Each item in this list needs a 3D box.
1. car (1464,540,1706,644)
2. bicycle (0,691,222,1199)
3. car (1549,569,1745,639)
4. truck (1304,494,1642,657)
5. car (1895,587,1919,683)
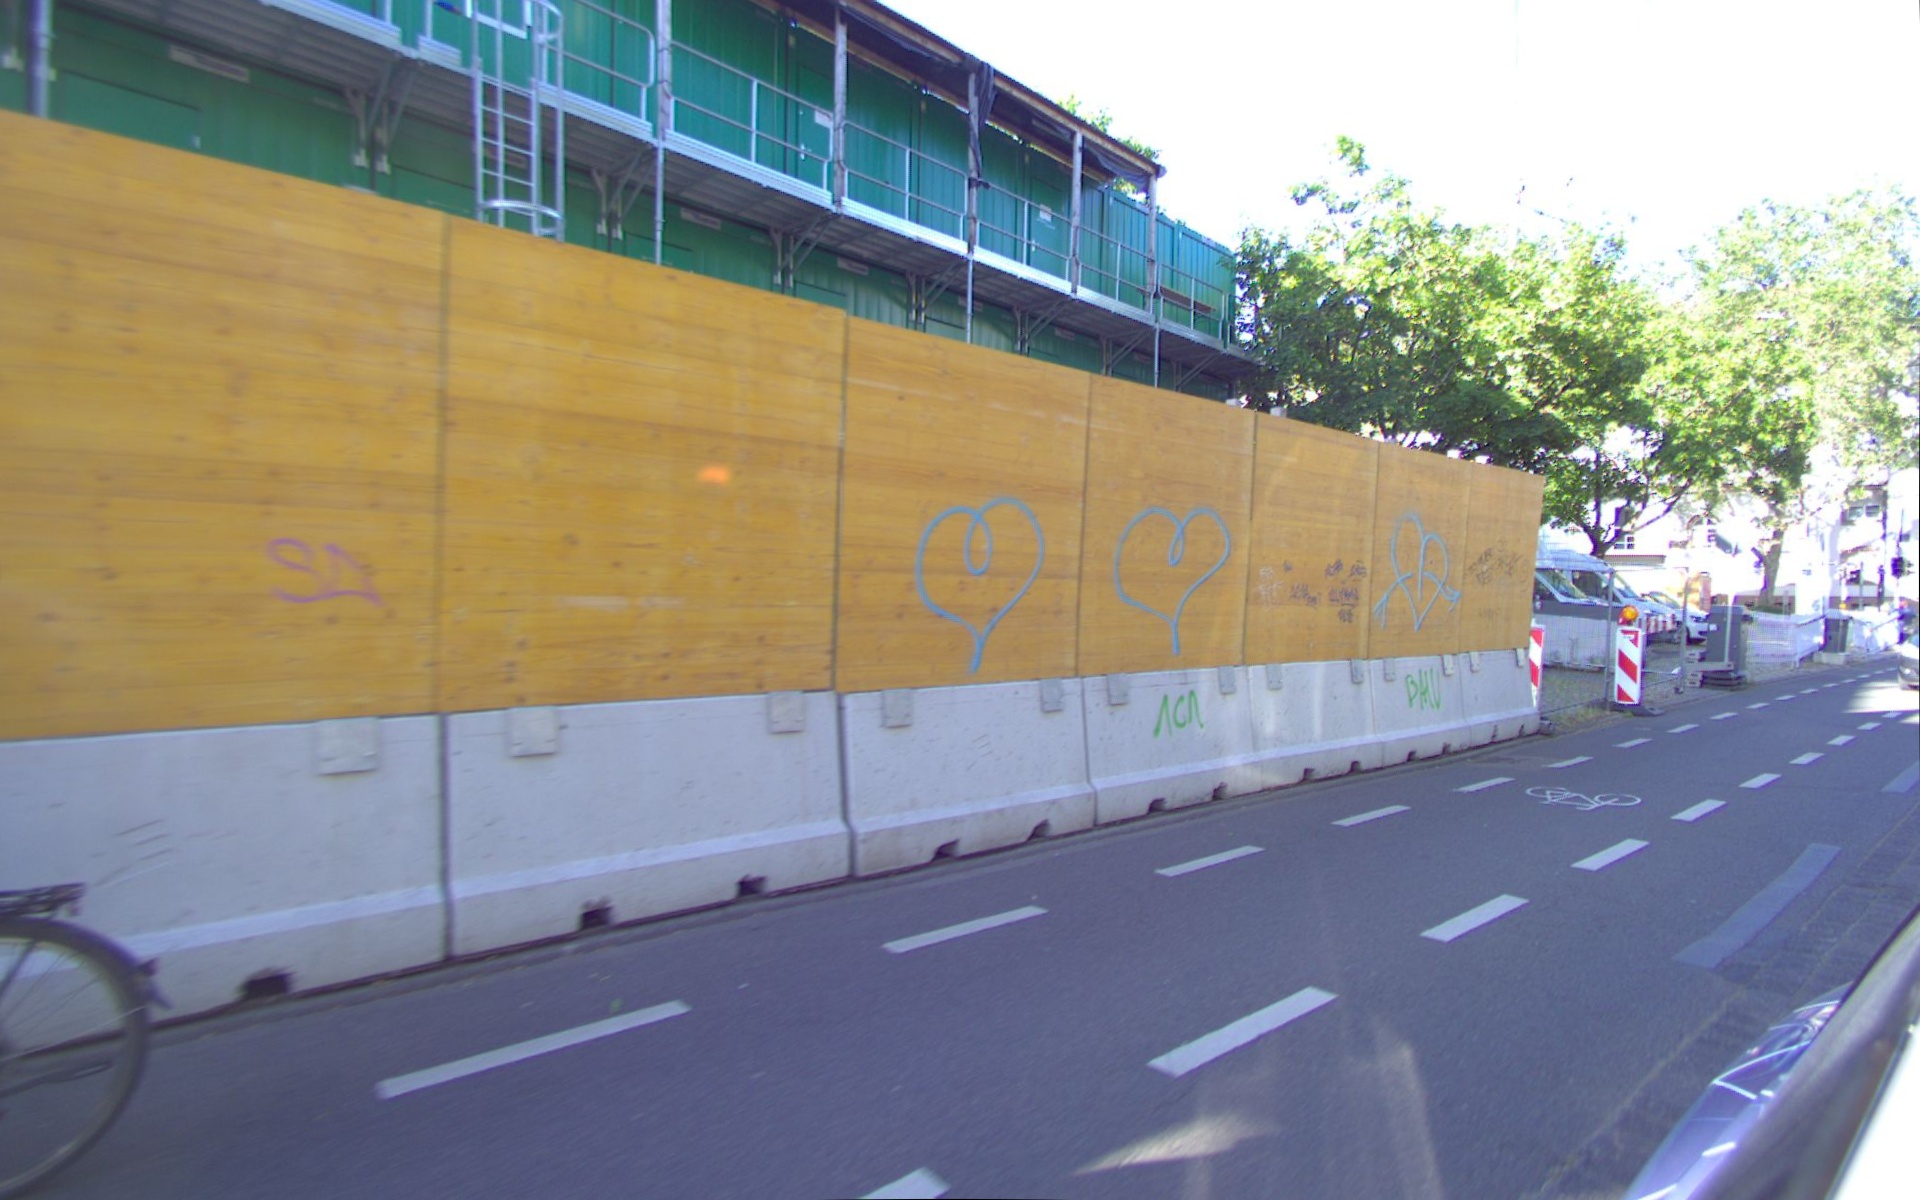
[{"bbox_3d":[17.159,-0.289,28.054,1.979,2.594,5.332,0,2,-41],"label":"car"},{"bbox_3d":[-2.884,0.850,2.014,2.238,1.141,0.558,0,1,-43],"label":"bicycle"},{"bbox_3d":[21.715,0.089,32.198,1.962,2.035,4.798,0,1,-36],"label":"car"},{"bbox_3d":[12.349,-0.638,25.006,2.330,3.461,7.088,0,2,-41],"label":"truck"},{"bbox_3d":[18.358,0.603,17.933,4.089,1.642,1.751,0,0,-34],"label":"car"}]
